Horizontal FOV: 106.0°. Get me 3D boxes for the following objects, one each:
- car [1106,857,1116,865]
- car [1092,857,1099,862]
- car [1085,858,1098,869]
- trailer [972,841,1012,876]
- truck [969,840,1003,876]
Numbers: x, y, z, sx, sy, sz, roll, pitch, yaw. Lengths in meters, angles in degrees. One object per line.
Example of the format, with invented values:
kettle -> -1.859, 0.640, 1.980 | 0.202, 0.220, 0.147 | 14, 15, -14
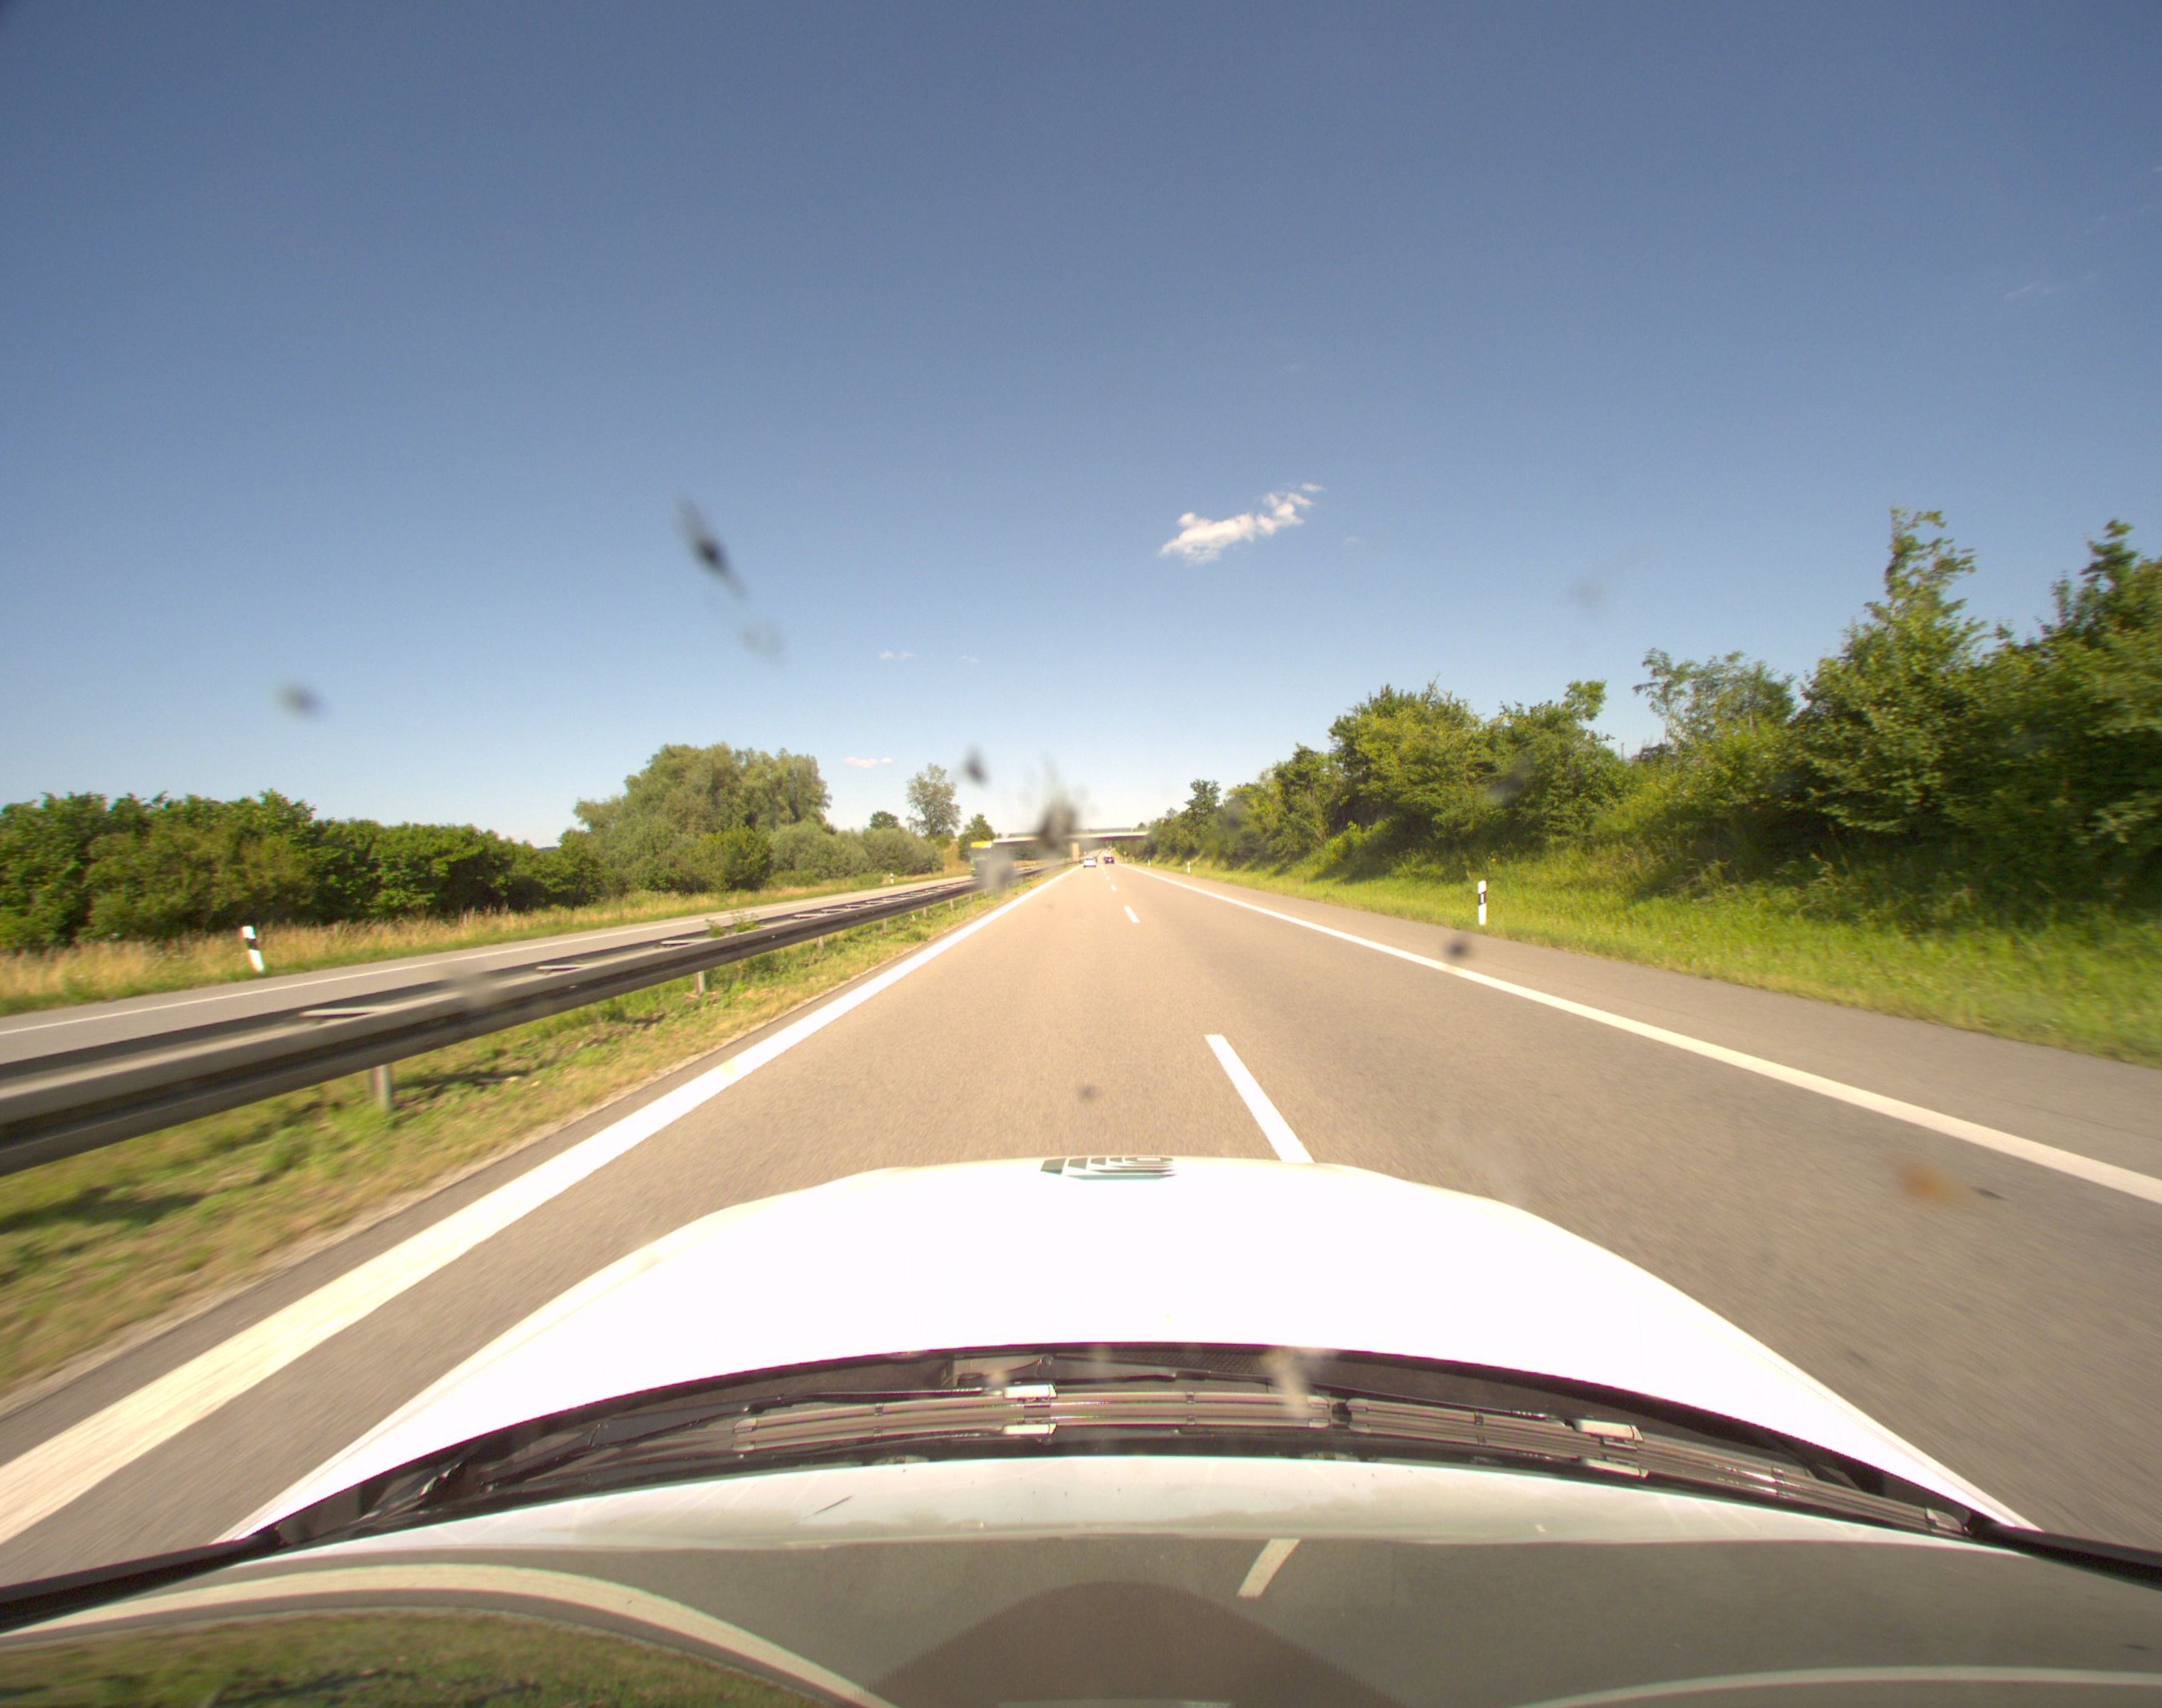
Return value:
car -> 5.992, 1.372, 164.057 | 1.836, 1.520, 4.000 | 0, 0, 1
car -> 3.869, 1.544, 218.271 | 1.836, 1.436, 4.000 | 0, 0, 1
car -> 1.525, 1.350, 115.708 | 1.836, 1.415, 4.000 | 0, 0, 1
trailer -> -10.341, 0.498, 96.336 | 2.970, 3.731, 12.420 | -3, -1, 1
truck -> -10.422, 0.460, 89.959 | 2.945, 3.731, 5.568 | -3, -1, 0
